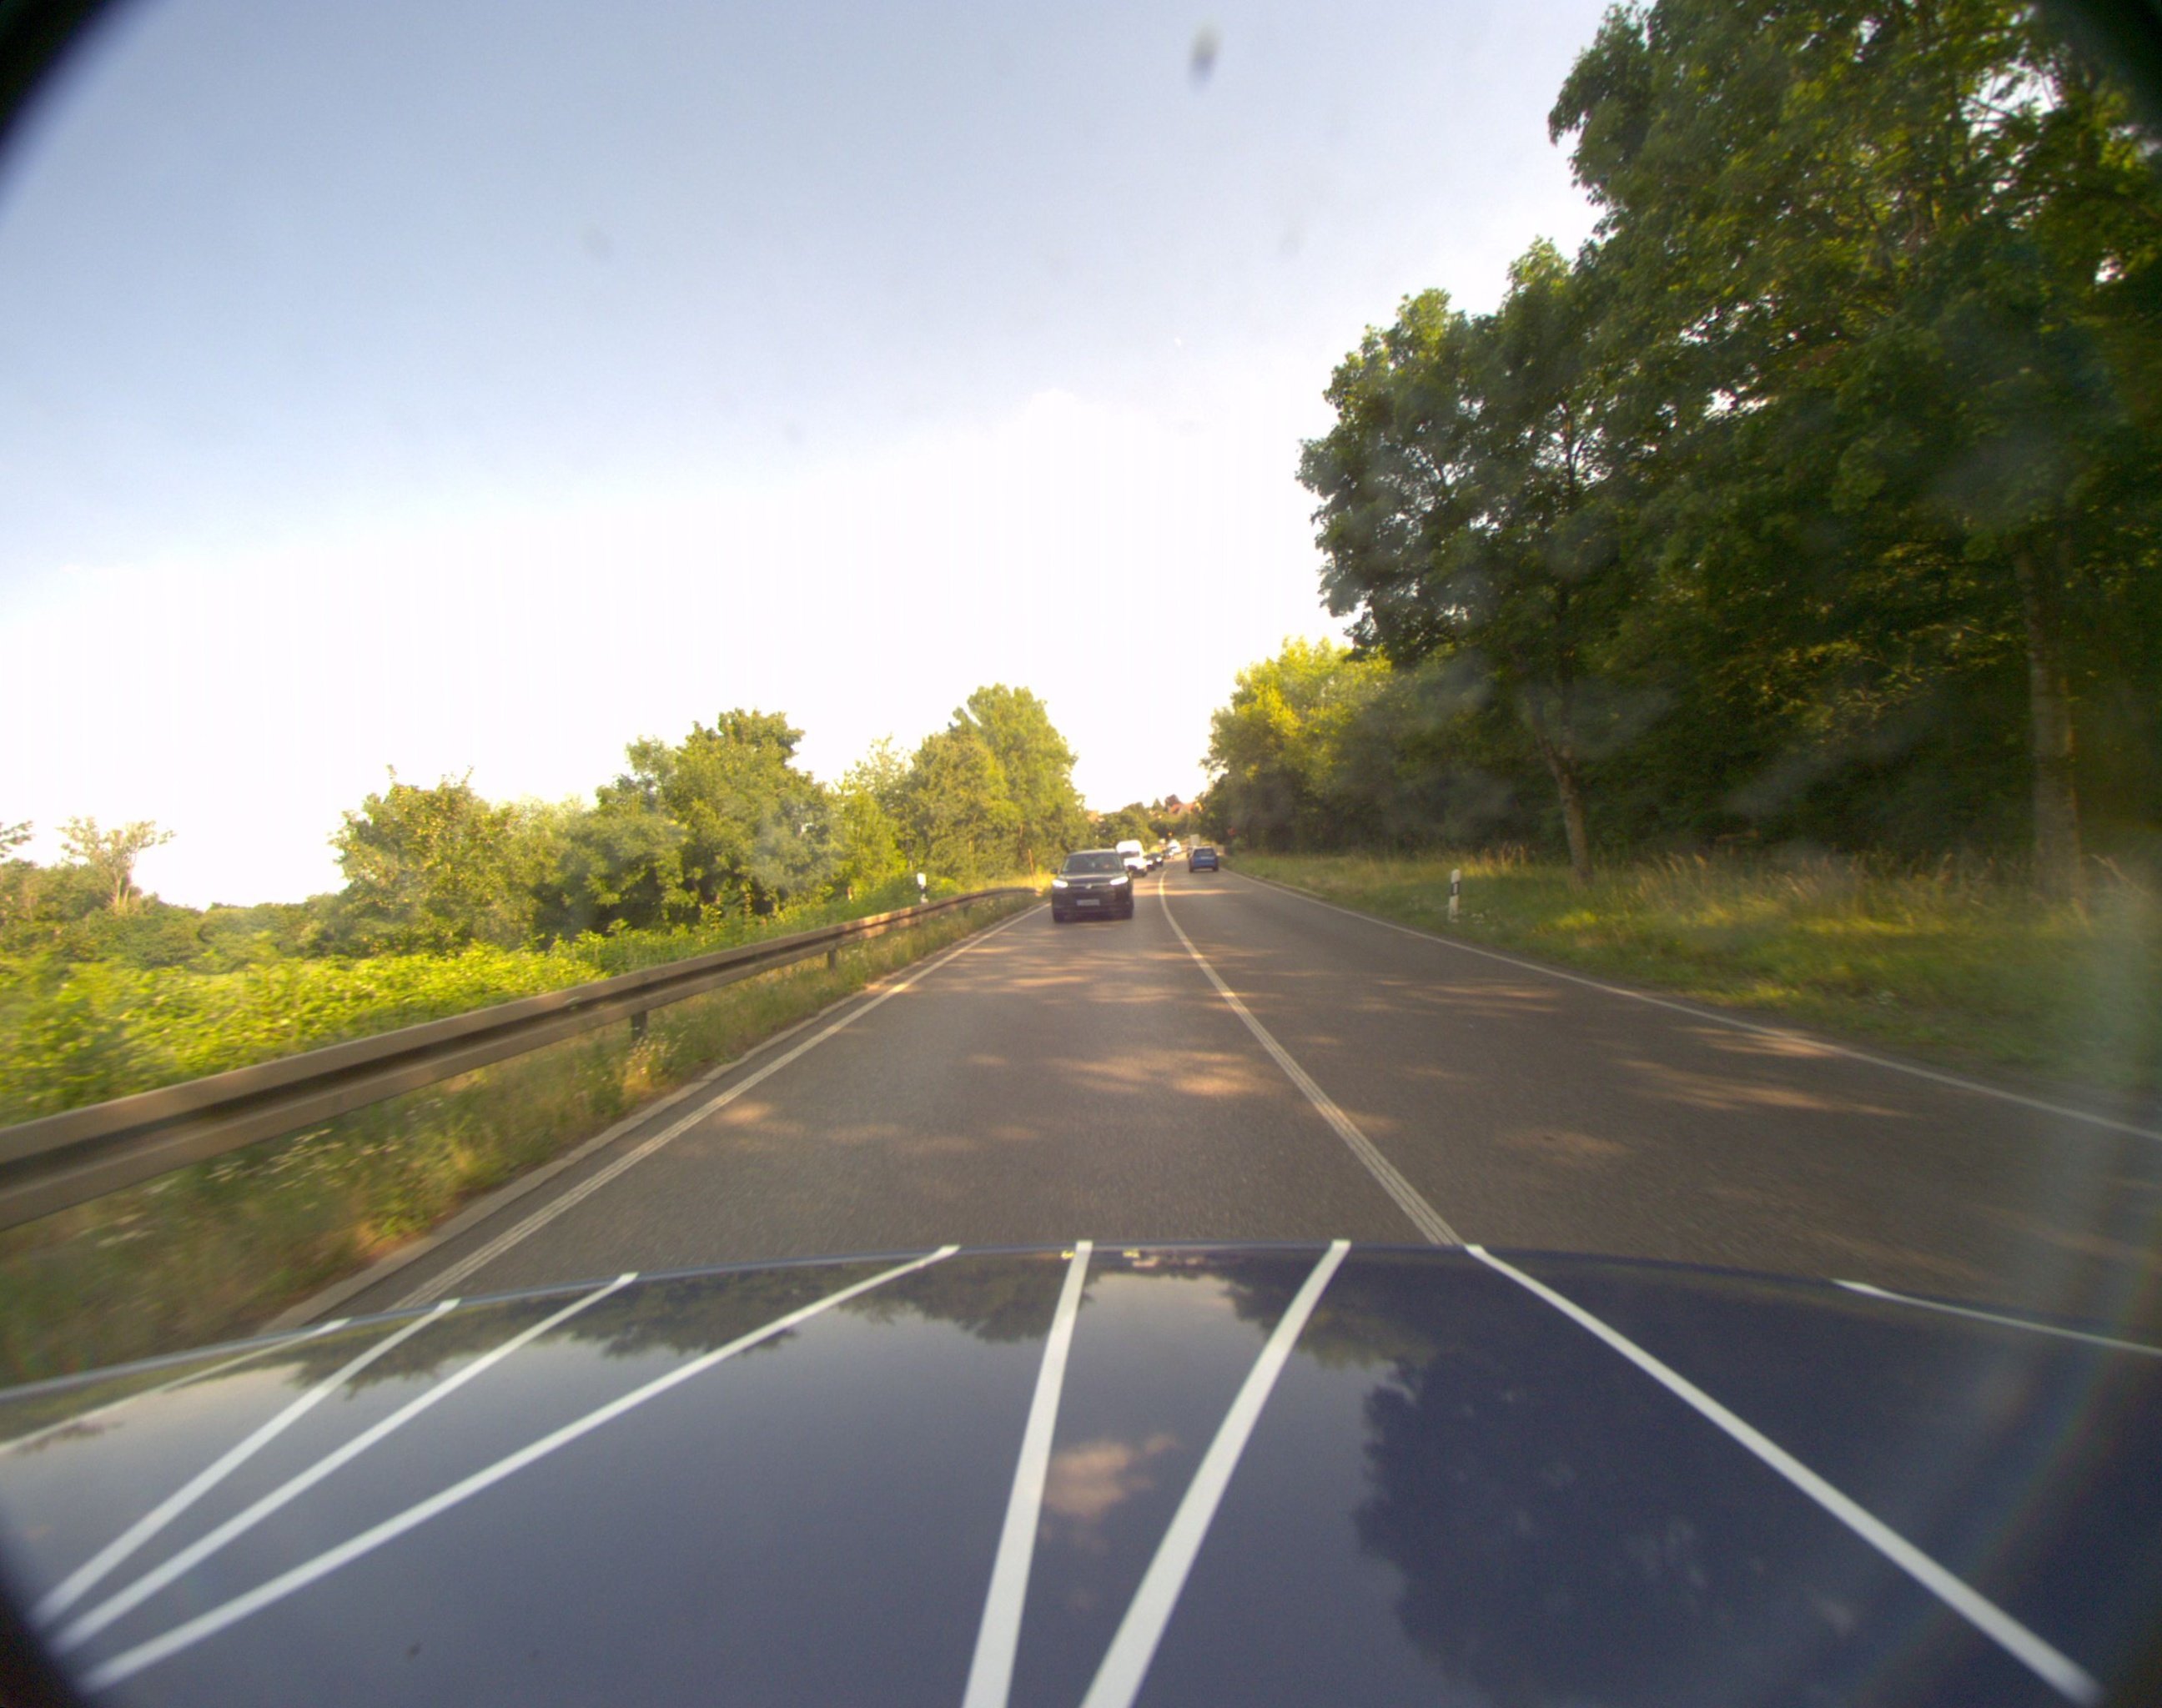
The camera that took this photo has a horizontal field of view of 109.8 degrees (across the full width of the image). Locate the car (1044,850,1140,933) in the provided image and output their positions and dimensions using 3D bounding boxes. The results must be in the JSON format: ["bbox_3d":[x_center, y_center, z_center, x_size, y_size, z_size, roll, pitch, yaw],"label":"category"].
[{"bbox_3d":[0.242,0.759,18.081,1.922,1.612,4.701,-3,1,0],"label":"car"}]

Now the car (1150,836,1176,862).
[{"bbox_3d":[8.269,-0.525,76.801,2.088,2.403,5.142,-3,1,1],"label":"car"}]

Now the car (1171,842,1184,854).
[{"bbox_3d":[20.232,-1.272,158.422,2.086,2.403,5.146,-2,1,13],"label":"car"}]

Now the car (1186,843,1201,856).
[{"bbox_3d":[15.631,-0.653,105.199,1.893,1.622,4.253,-2,1,10],"label":"car"}]

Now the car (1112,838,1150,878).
[{"bbox_3d":[3.286,0.218,49.175,2.087,2.403,5.144,-2,1,7],"label":"car"}]

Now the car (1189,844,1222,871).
[{"bbox_3d":[8.101,0.214,49.905,1.900,1.622,4.252,-2,1,7],"label":"car"}]

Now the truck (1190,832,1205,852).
[{"bbox_3d":[30.960,-3.152,202.676,3.629,5.140,10.466,-2,0,9],"label":"truck"}]

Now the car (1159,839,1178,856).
[{"bbox_3d":[12.697,-0.960,110.322,2.086,2.403,5.146,-2,1,13],"label":"car"}]

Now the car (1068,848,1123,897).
[{"bbox_3d":[0.551,0.686,30.152,1.922,1.718,4.701,-3,0,0],"label":"car"}]

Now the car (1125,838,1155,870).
[{"bbox_3d":[4.788,-0.040,62.403,2.088,2.403,5.142,-3,1,1],"label":"car"}]
